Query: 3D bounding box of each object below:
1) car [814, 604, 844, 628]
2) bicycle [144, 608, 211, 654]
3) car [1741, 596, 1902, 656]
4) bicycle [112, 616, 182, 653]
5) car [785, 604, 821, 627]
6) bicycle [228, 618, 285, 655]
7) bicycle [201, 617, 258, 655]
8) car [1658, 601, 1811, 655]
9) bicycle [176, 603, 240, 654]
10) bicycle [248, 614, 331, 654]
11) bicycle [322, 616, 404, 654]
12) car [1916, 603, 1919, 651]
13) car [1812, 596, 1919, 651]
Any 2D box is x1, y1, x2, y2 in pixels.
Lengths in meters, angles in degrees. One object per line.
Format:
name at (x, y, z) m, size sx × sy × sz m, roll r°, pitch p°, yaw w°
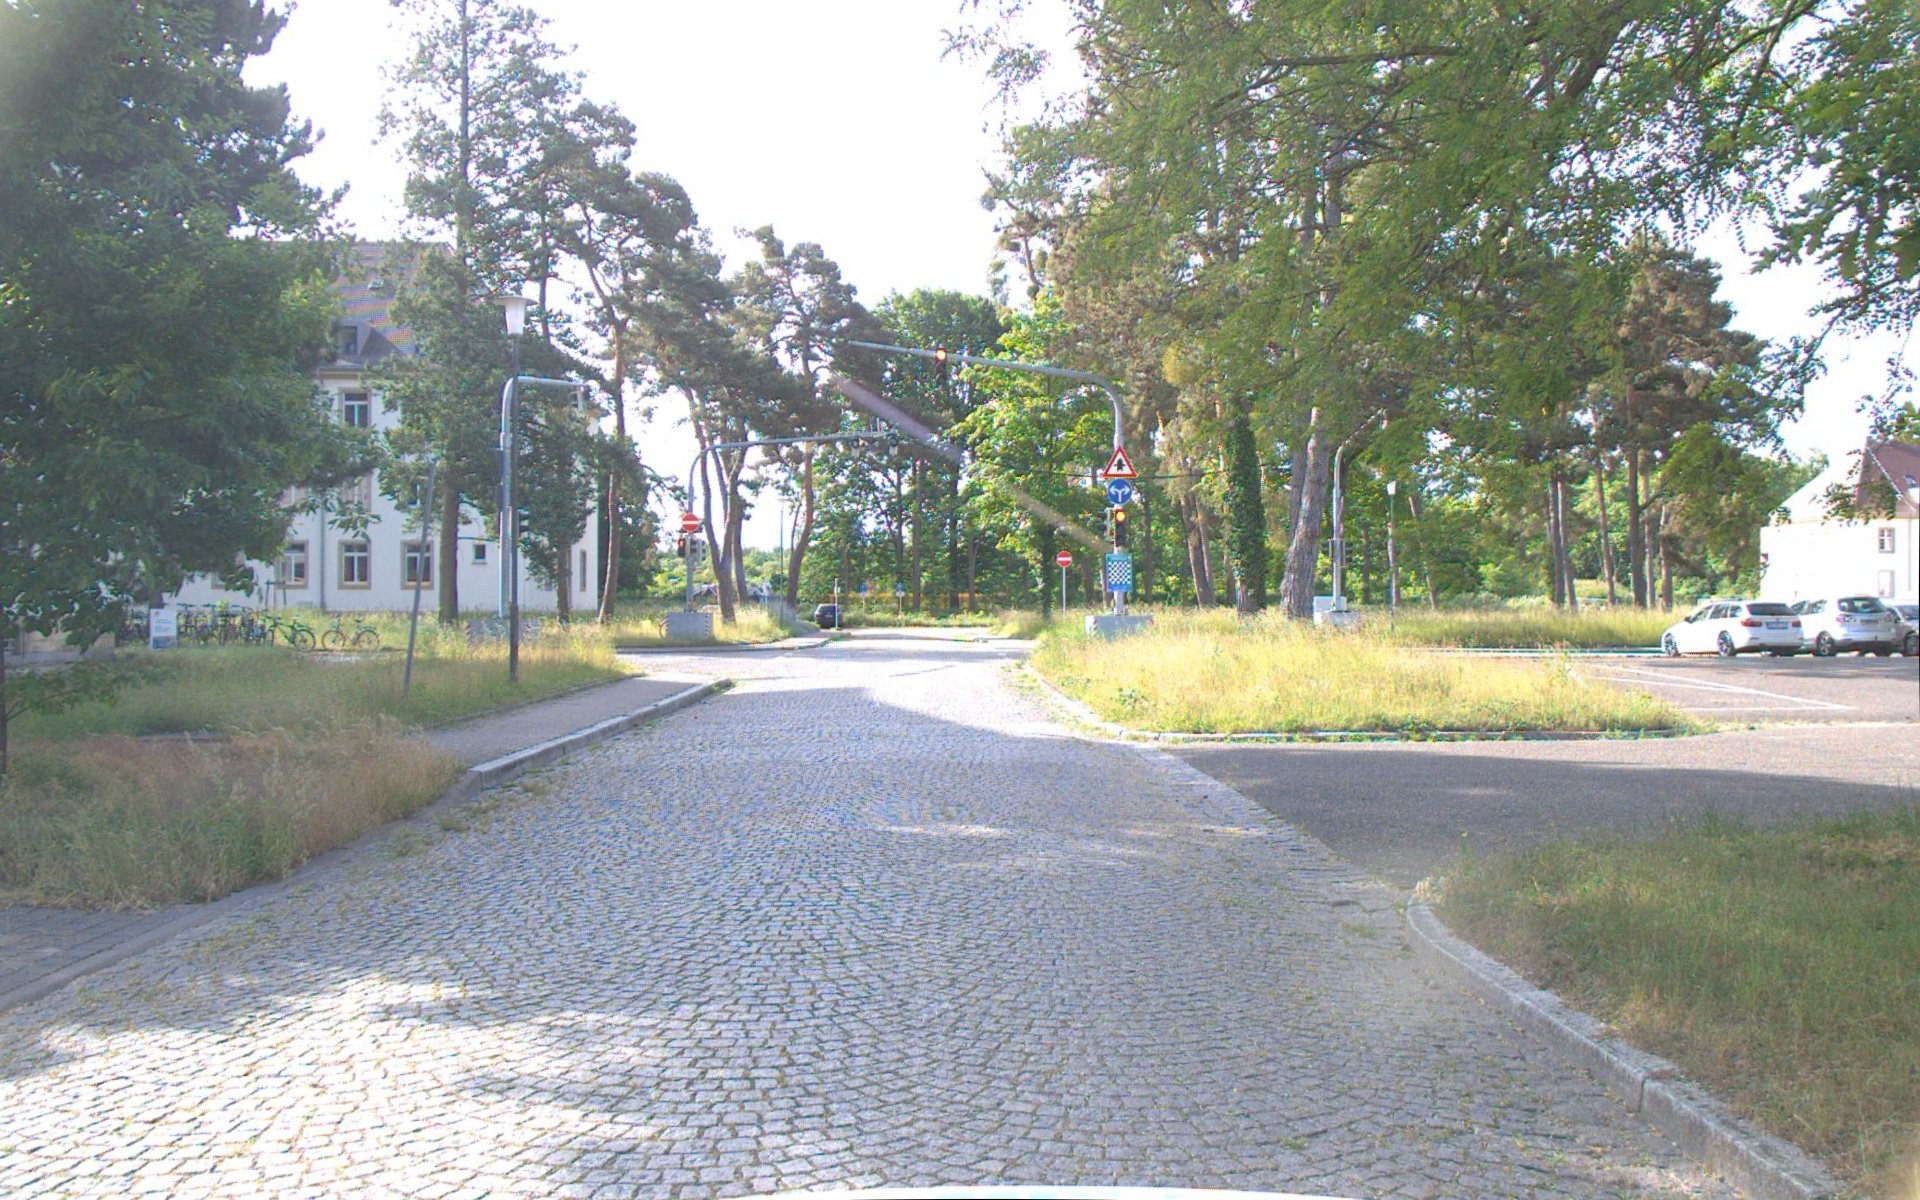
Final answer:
car at (-8.361, 1.005, 105.800) m, size 1.808 × 1.512 × 3.997 m, roll 0°, pitch 0°, yaw -4°
bicycle at (-23.173, 0.909, 49.032) m, size 0.809 × 1.303 × 2.553 m, roll 0°, pitch 0°, yaw -2°
car at (22.480, 0.653, 43.342) m, size 1.697 × 1.502 × 4.327 m, roll 0°, pitch 0°, yaw -5°
bicycle at (-24.058, 1.009, 49.003) m, size 0.882 × 1.065 × 2.553 m, roll 0°, pitch 0°, yaw -2°
car at (-10.464, 1.045, 110.509) m, size 1.745 × 1.516 × 3.757 m, roll 0°, pitch 0°, yaw 5°
bicycle at (-20.872, 1.077, 49.109) m, size 0.809 × 1.065 × 2.123 m, roll 0°, pitch 0°, yaw -2°
bicycle at (-21.638, 1.060, 49.041) m, size 0.809 × 1.065 × 2.123 m, roll 0°, pitch 0°, yaw -2°
car at (20.017, 0.689, 42.955) m, size 1.697 × 1.335 × 4.327 m, roll 0°, pitch 0°, yaw -5°
bicycle at (-22.423, 0.833, 49.359) m, size 0.809 × 1.462 × 2.553 m, roll 0°, pitch 0°, yaw -2°
bicycle at (-19.413, 0.969, 47.905) m, size 2.076 × 1.128 × 0.828 m, roll 0°, pitch 0°, yaw -5°
bicycle at (-17.332, 1.010, 48.067) m, size 2.076 × 1.065 × 0.828 m, roll 0°, pitch 0°, yaw -5°
car at (27.715, 0.734, 44.093) m, size 1.697 × 1.335 × 4.327 m, roll -1°, pitch 0°, yaw -5°
car at (24.679, 0.584, 43.796) m, size 1.697 × 1.335 × 4.327 m, roll -1°, pitch 0°, yaw -5°
